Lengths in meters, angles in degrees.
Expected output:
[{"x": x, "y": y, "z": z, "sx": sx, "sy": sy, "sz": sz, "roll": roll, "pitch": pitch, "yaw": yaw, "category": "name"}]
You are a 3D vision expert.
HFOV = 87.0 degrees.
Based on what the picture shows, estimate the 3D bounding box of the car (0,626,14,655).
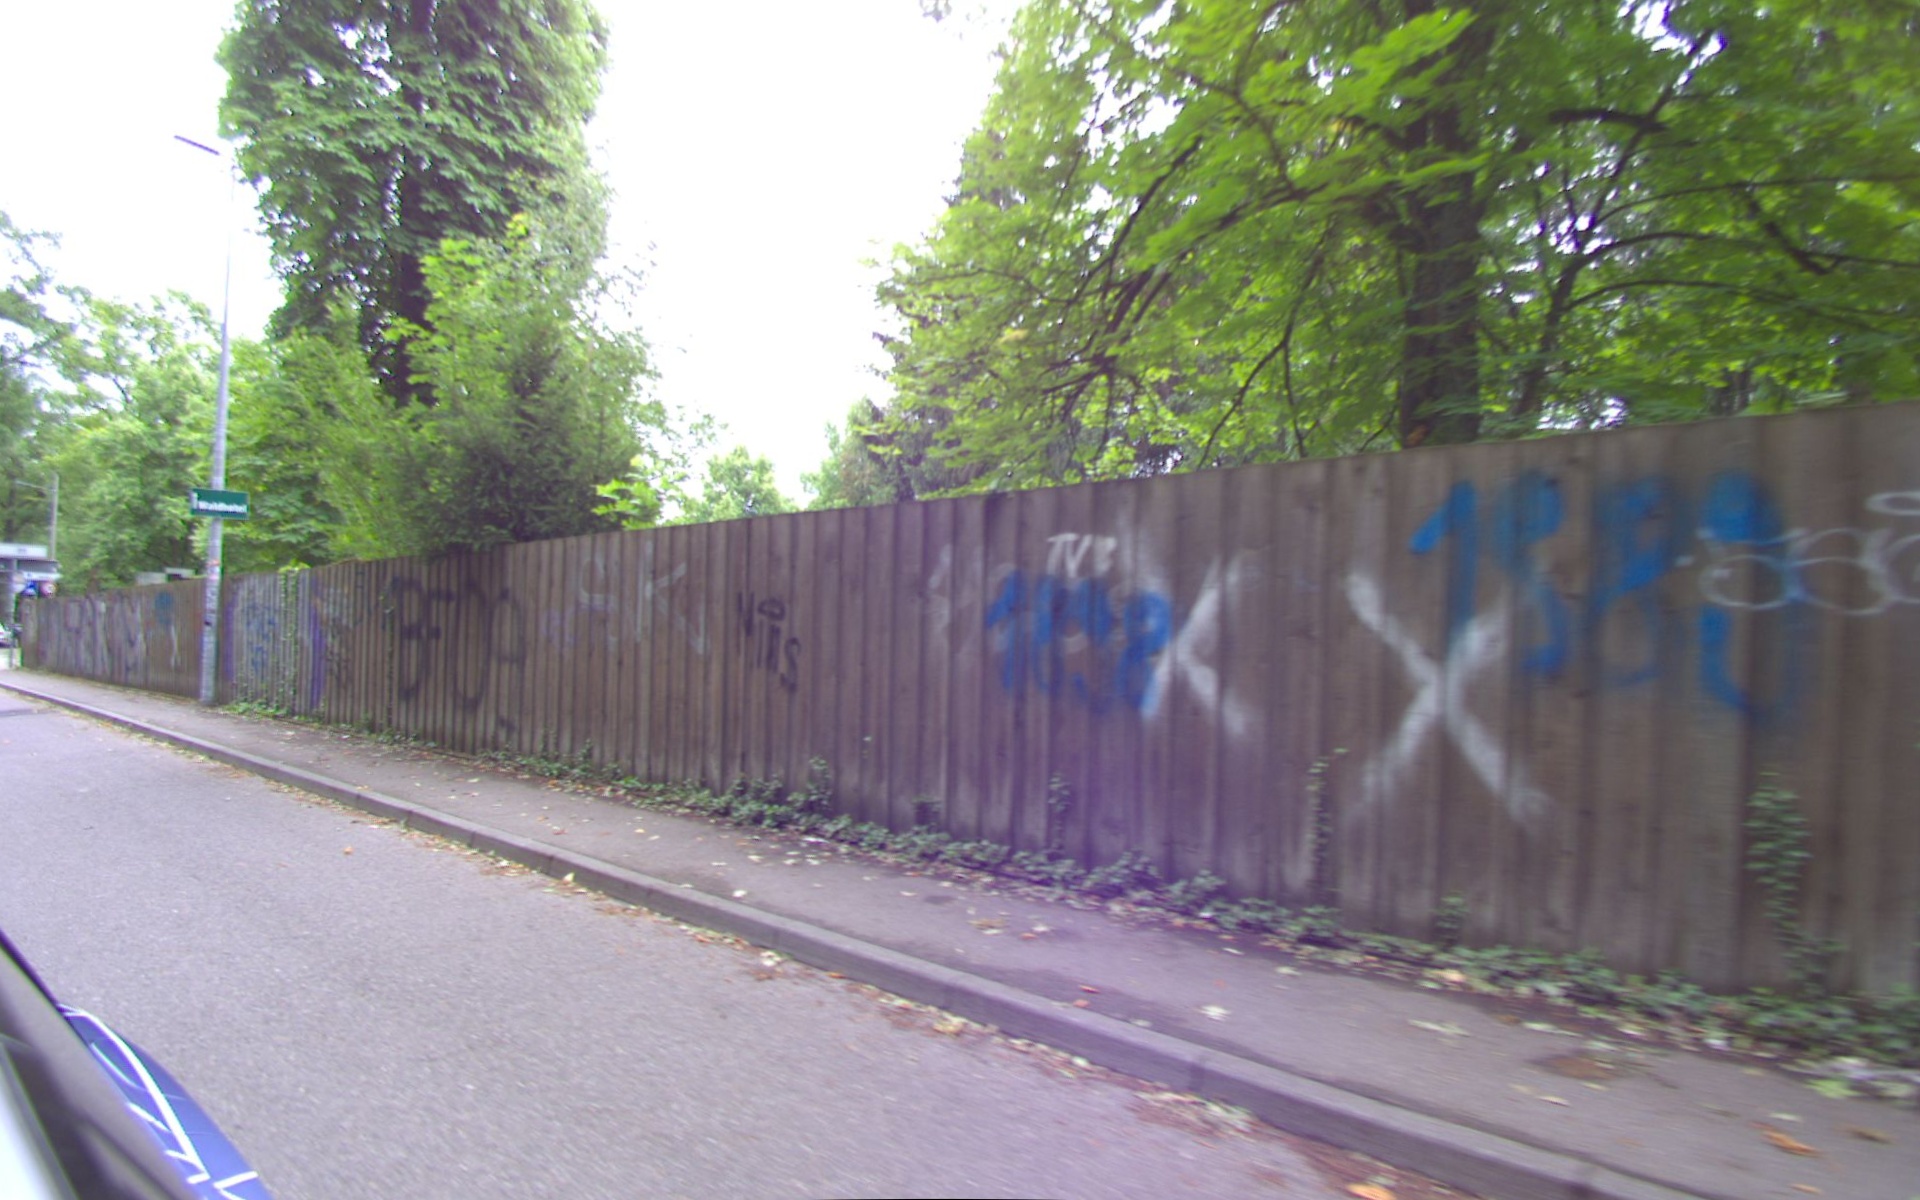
[{"x": -50.896, "y": 2.130, "z": 52.671, "sx": 1.967, "sy": 1.431, "sz": 4.008, "roll": 1, "pitch": -4, "yaw": -37, "category": "car"}]
